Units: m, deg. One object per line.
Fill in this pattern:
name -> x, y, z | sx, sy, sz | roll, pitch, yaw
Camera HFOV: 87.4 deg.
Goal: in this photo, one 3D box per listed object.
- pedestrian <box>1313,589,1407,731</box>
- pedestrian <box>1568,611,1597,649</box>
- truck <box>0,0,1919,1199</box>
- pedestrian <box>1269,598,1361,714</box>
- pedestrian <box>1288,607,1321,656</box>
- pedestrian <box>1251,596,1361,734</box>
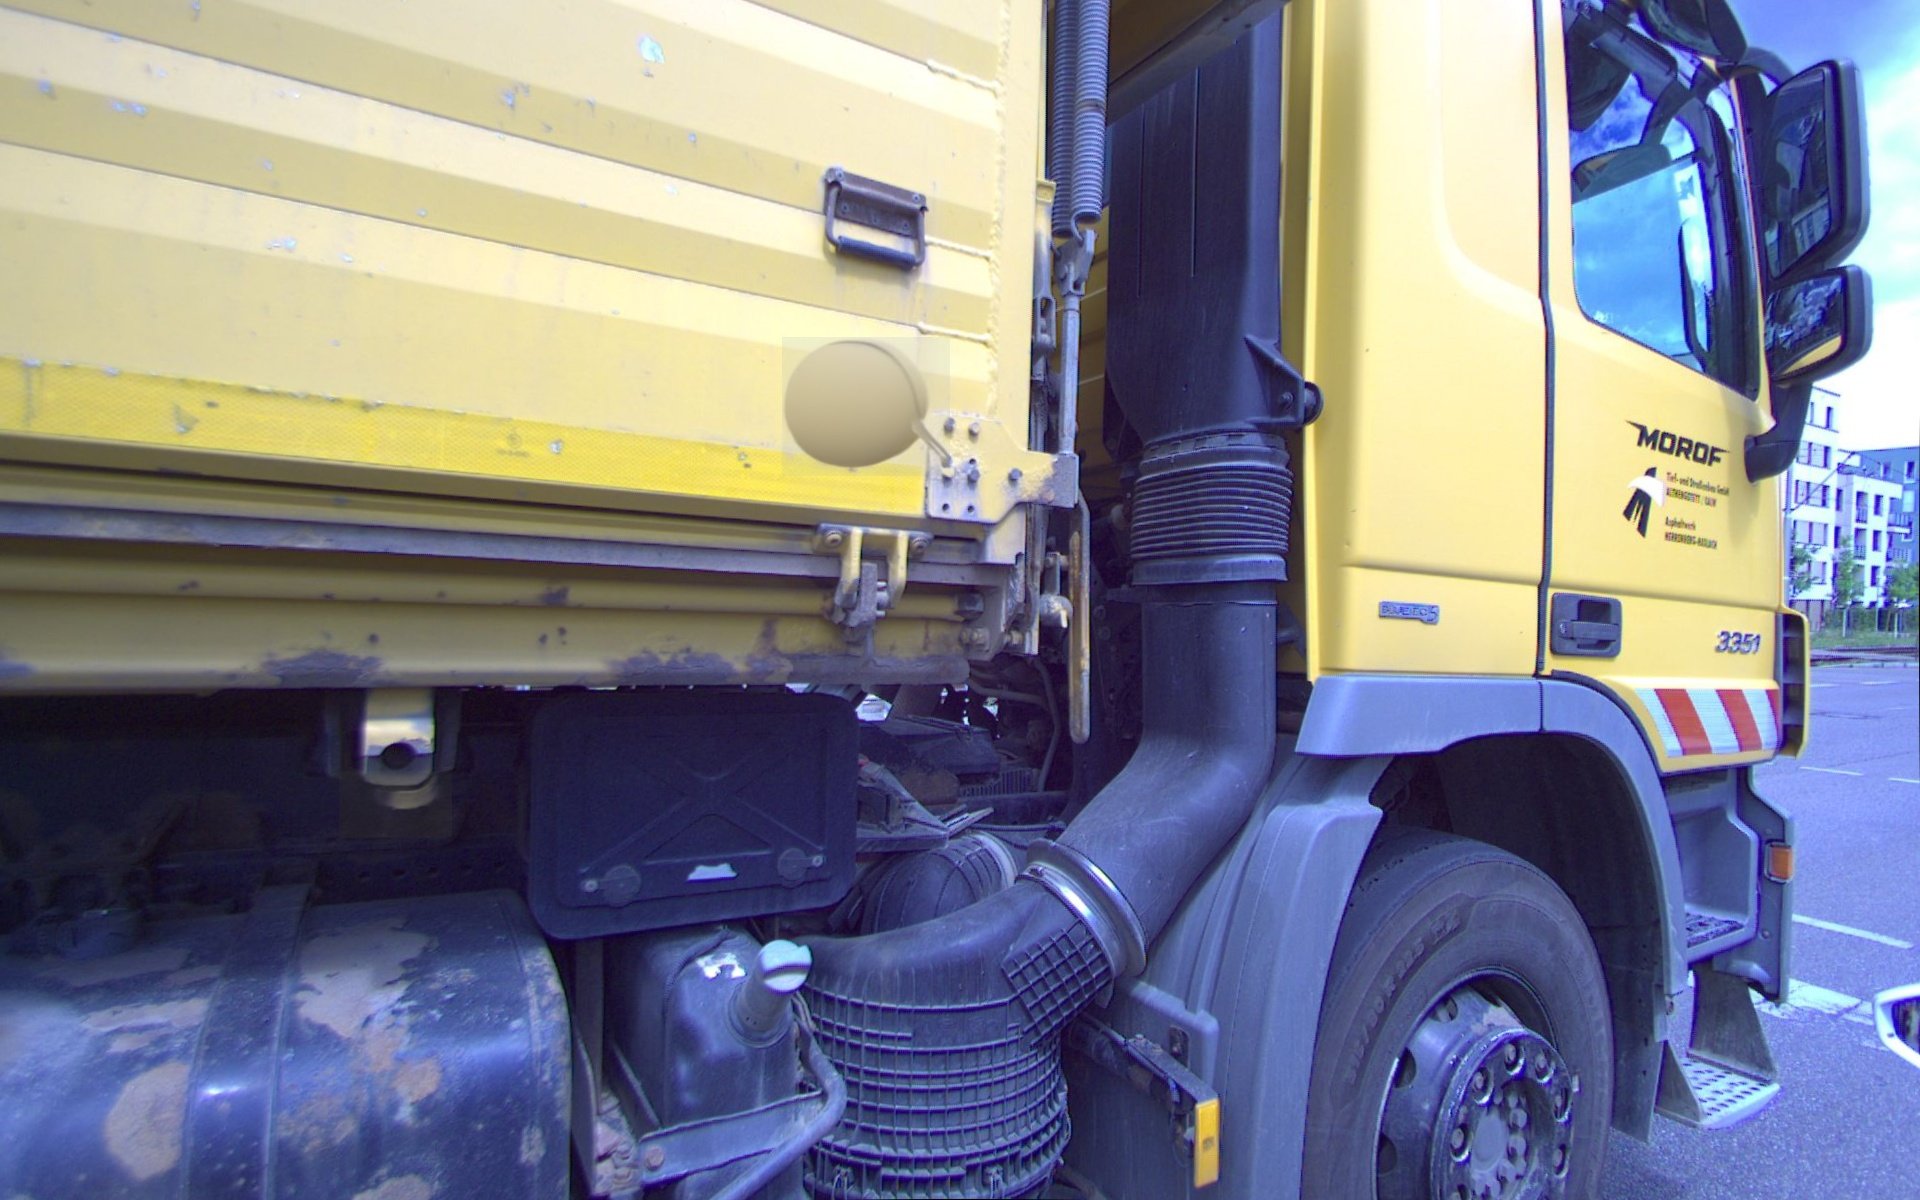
pedestrian -> 5.191, 0.752, 13.050 | 0.818, 1.766, 0.778 | 1, 0, -30
pedestrian -> 25.704, 1.229, 41.493 | 0.628, 1.536, 0.827 | 1, 0, -30
truck -> -1.719, -0.232, 1.647 | 7.916, 3.439, 3.033 | 1, 0, -32
pedestrian -> 5.195, 0.794, 14.704 | 0.897, 1.618, 0.888 | 1, 0, -30
pedestrian -> 11.987, 1.089, 34.972 | 1.048, 1.670, 0.708 | 1, 0, 18
pedestrian -> 4.289, 0.768, 12.477 | 0.918, 1.628, 0.908 | 1, 0, -30
